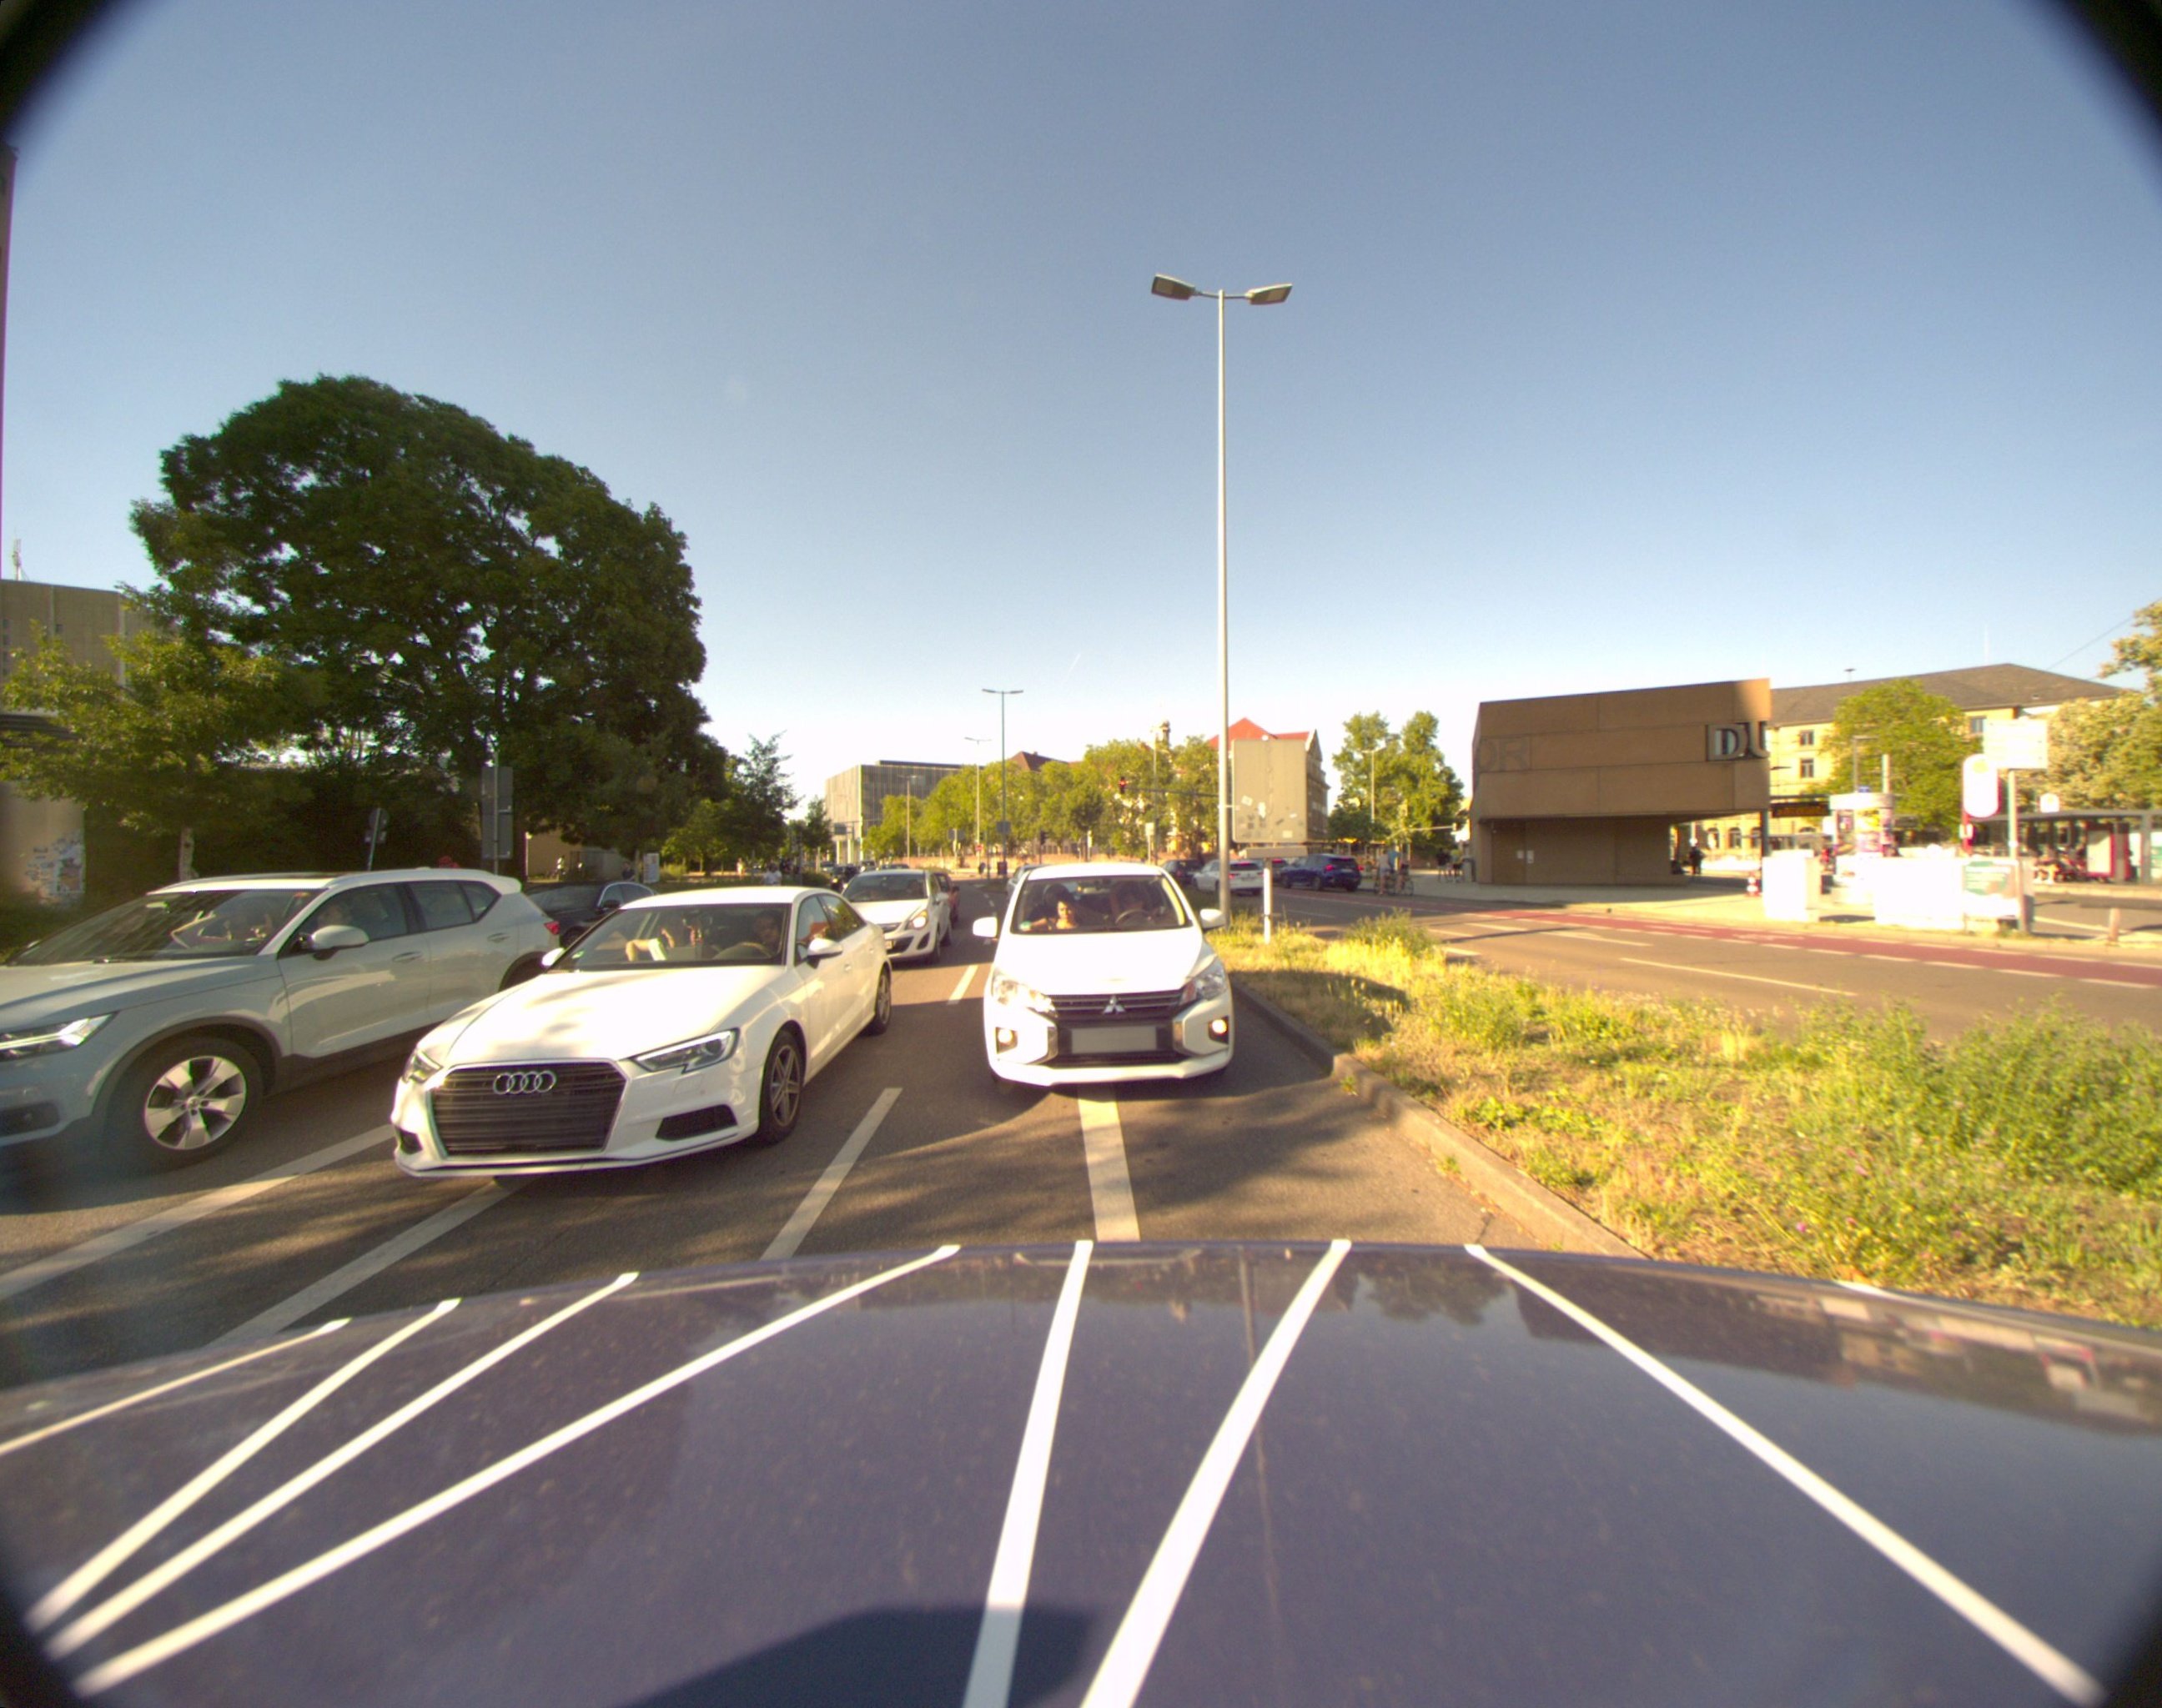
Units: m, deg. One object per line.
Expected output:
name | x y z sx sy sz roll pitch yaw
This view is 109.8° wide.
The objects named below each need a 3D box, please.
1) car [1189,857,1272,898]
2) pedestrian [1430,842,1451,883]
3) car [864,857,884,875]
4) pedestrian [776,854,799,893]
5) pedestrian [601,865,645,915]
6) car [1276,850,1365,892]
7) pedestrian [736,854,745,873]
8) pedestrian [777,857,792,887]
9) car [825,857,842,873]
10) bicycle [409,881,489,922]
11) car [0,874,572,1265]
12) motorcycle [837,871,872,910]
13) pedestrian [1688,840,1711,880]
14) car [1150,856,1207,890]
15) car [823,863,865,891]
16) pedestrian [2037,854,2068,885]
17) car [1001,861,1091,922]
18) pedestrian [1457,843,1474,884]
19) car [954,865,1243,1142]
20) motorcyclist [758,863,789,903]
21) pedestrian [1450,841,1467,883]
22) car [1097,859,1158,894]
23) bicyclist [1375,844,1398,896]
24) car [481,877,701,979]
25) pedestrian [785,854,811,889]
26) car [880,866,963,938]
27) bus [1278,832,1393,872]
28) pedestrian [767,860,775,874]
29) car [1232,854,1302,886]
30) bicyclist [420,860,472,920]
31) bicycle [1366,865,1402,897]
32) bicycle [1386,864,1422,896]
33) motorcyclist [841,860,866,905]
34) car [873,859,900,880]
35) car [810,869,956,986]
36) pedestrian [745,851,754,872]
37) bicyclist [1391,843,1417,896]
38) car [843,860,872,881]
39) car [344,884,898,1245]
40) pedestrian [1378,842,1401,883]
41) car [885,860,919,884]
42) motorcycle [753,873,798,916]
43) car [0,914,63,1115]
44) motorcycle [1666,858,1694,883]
car | 6.042 0.908 31.316 1.850 1.483 4.388 -2 1 -10
pedestrian | 17.764 0.405 37.547 0.777 2.002 0.773 -2 1 13
car | -21.674 1.209 79.764 1.880 1.805 3.995 -1 0 -14
pedestrian | -15.691 1.025 40.616 0.895 2.002 0.881 -2 1 -10
pedestrian | -16.426 1.288 27.270 1.010 1.711 0.884 -2 1 -10
car | 10.369 0.704 33.215 1.757 1.680 4.183 -1 0 -14
pedestrian | -27.339 0.755 61.060 0.548 1.521 0.603 -3 1 -19
pedestrian | -16.152 0.970 41.412 0.596 1.585 0.594 -2 1 -8
car | -28.616 1.250 87.701 1.748 1.696 3.993 -1 0 -19
bicycle | -17.145 1.273 20.685 0.660 0.958 2.033 0 1 -7
car | -5.752 1.056 5.267 1.628 1.611 4.223 -2 1 -2
motorcycle | -8.405 1.314 28.287 0.718 1.297 2.234 -2 1 -4
pedestrian | 31.603 0.297 38.840 0.780 2.002 0.771 -3 2 -42
car | 4.726 0.891 37.393 1.756 1.451 4.186 -2 1 -7
car | -13.561 1.282 43.741 1.746 1.516 3.996 -1 0 -9
pedestrian | 38.976 0.620 30.495 0.539 1.180 0.659 -2 1 29
car | -1.112 0.995 21.822 1.757 1.451 4.183 -2 1 -14
pedestrian | 19.093 0.460 37.744 0.655 2.002 0.469 -2 1 20
car | 0.053 0.897 6.443 1.628 1.451 4.040 -2 1 -2
motorcyclist | -10.354 0.974 25.642 0.718 1.297 0.735 -2 1 -4
pedestrian | 18.199 0.368 36.606 0.655 2.002 0.469 -2 1 20
car | 2.126 0.994 35.820 1.757 1.451 4.184 -2 1 -12
bicyclist | 11.746 0.604 29.209 0.611 2.002 0.565 -1 1 -15
car | -9.146 1.290 14.678 1.756 1.451 4.186 -2 1 -5
pedestrian | -16.772 1.018 44.998 1.143 2.002 1.285 -2 1 -10
car | -3.901 1.101 19.106 1.628 1.451 4.039 -2 1 -7
bus | 23.875 -0.235 70.735 12.565 3.193 3.079 -3 1 -34
pedestrian | -45.399 1.903 111.328 0.840 2.002 1.065 -3 1 -30
car | 9.456 0.796 39.094 1.850 1.483 4.388 1 0 -10
bicyclist | -17.132 0.943 20.520 0.617 1.551 0.871 -2 1 -6
bicycle | 11.713 1.017 29.395 0.464 1.185 1.395 -3 1 -17
bicycle | 12.496 0.987 29.409 0.464 1.185 1.395 -3 1 -17
motorcyclist | -8.392 1.047 28.045 0.711 1.581 0.690 -2 1 -4
car | -16.746 1.285 65.310 1.748 1.696 3.993 -1 0 -21
car | -3.077 1.053 12.589 1.628 1.451 4.039 -2 1 -5
pedestrian | -26.713 0.601 61.297 0.548 1.597 0.603 -3 1 -19
bicyclist | 12.488 0.596 29.347 0.611 2.002 0.708 -1 1 -15
car | -17.444 1.278 59.322 1.748 1.536 3.992 -1 0 -22
car | -2.556 1.039 5.400 1.628 1.396 3.832 -2 1 -2
pedestrian | 14.215 0.384 35.013 0.797 1.886 0.612 0 1 40
car | -12.229 1.159 51.750 1.748 1.536 3.993 -1 0 -20
motorcycle | -10.361 1.340 25.856 0.718 1.297 2.234 -2 1 -4
car | -8.760 1.244 3.892 1.628 1.451 4.040 -2 1 -2
motorcycle | 26.210 0.713 33.237 0.948 1.061 0.331 -1 1 39
